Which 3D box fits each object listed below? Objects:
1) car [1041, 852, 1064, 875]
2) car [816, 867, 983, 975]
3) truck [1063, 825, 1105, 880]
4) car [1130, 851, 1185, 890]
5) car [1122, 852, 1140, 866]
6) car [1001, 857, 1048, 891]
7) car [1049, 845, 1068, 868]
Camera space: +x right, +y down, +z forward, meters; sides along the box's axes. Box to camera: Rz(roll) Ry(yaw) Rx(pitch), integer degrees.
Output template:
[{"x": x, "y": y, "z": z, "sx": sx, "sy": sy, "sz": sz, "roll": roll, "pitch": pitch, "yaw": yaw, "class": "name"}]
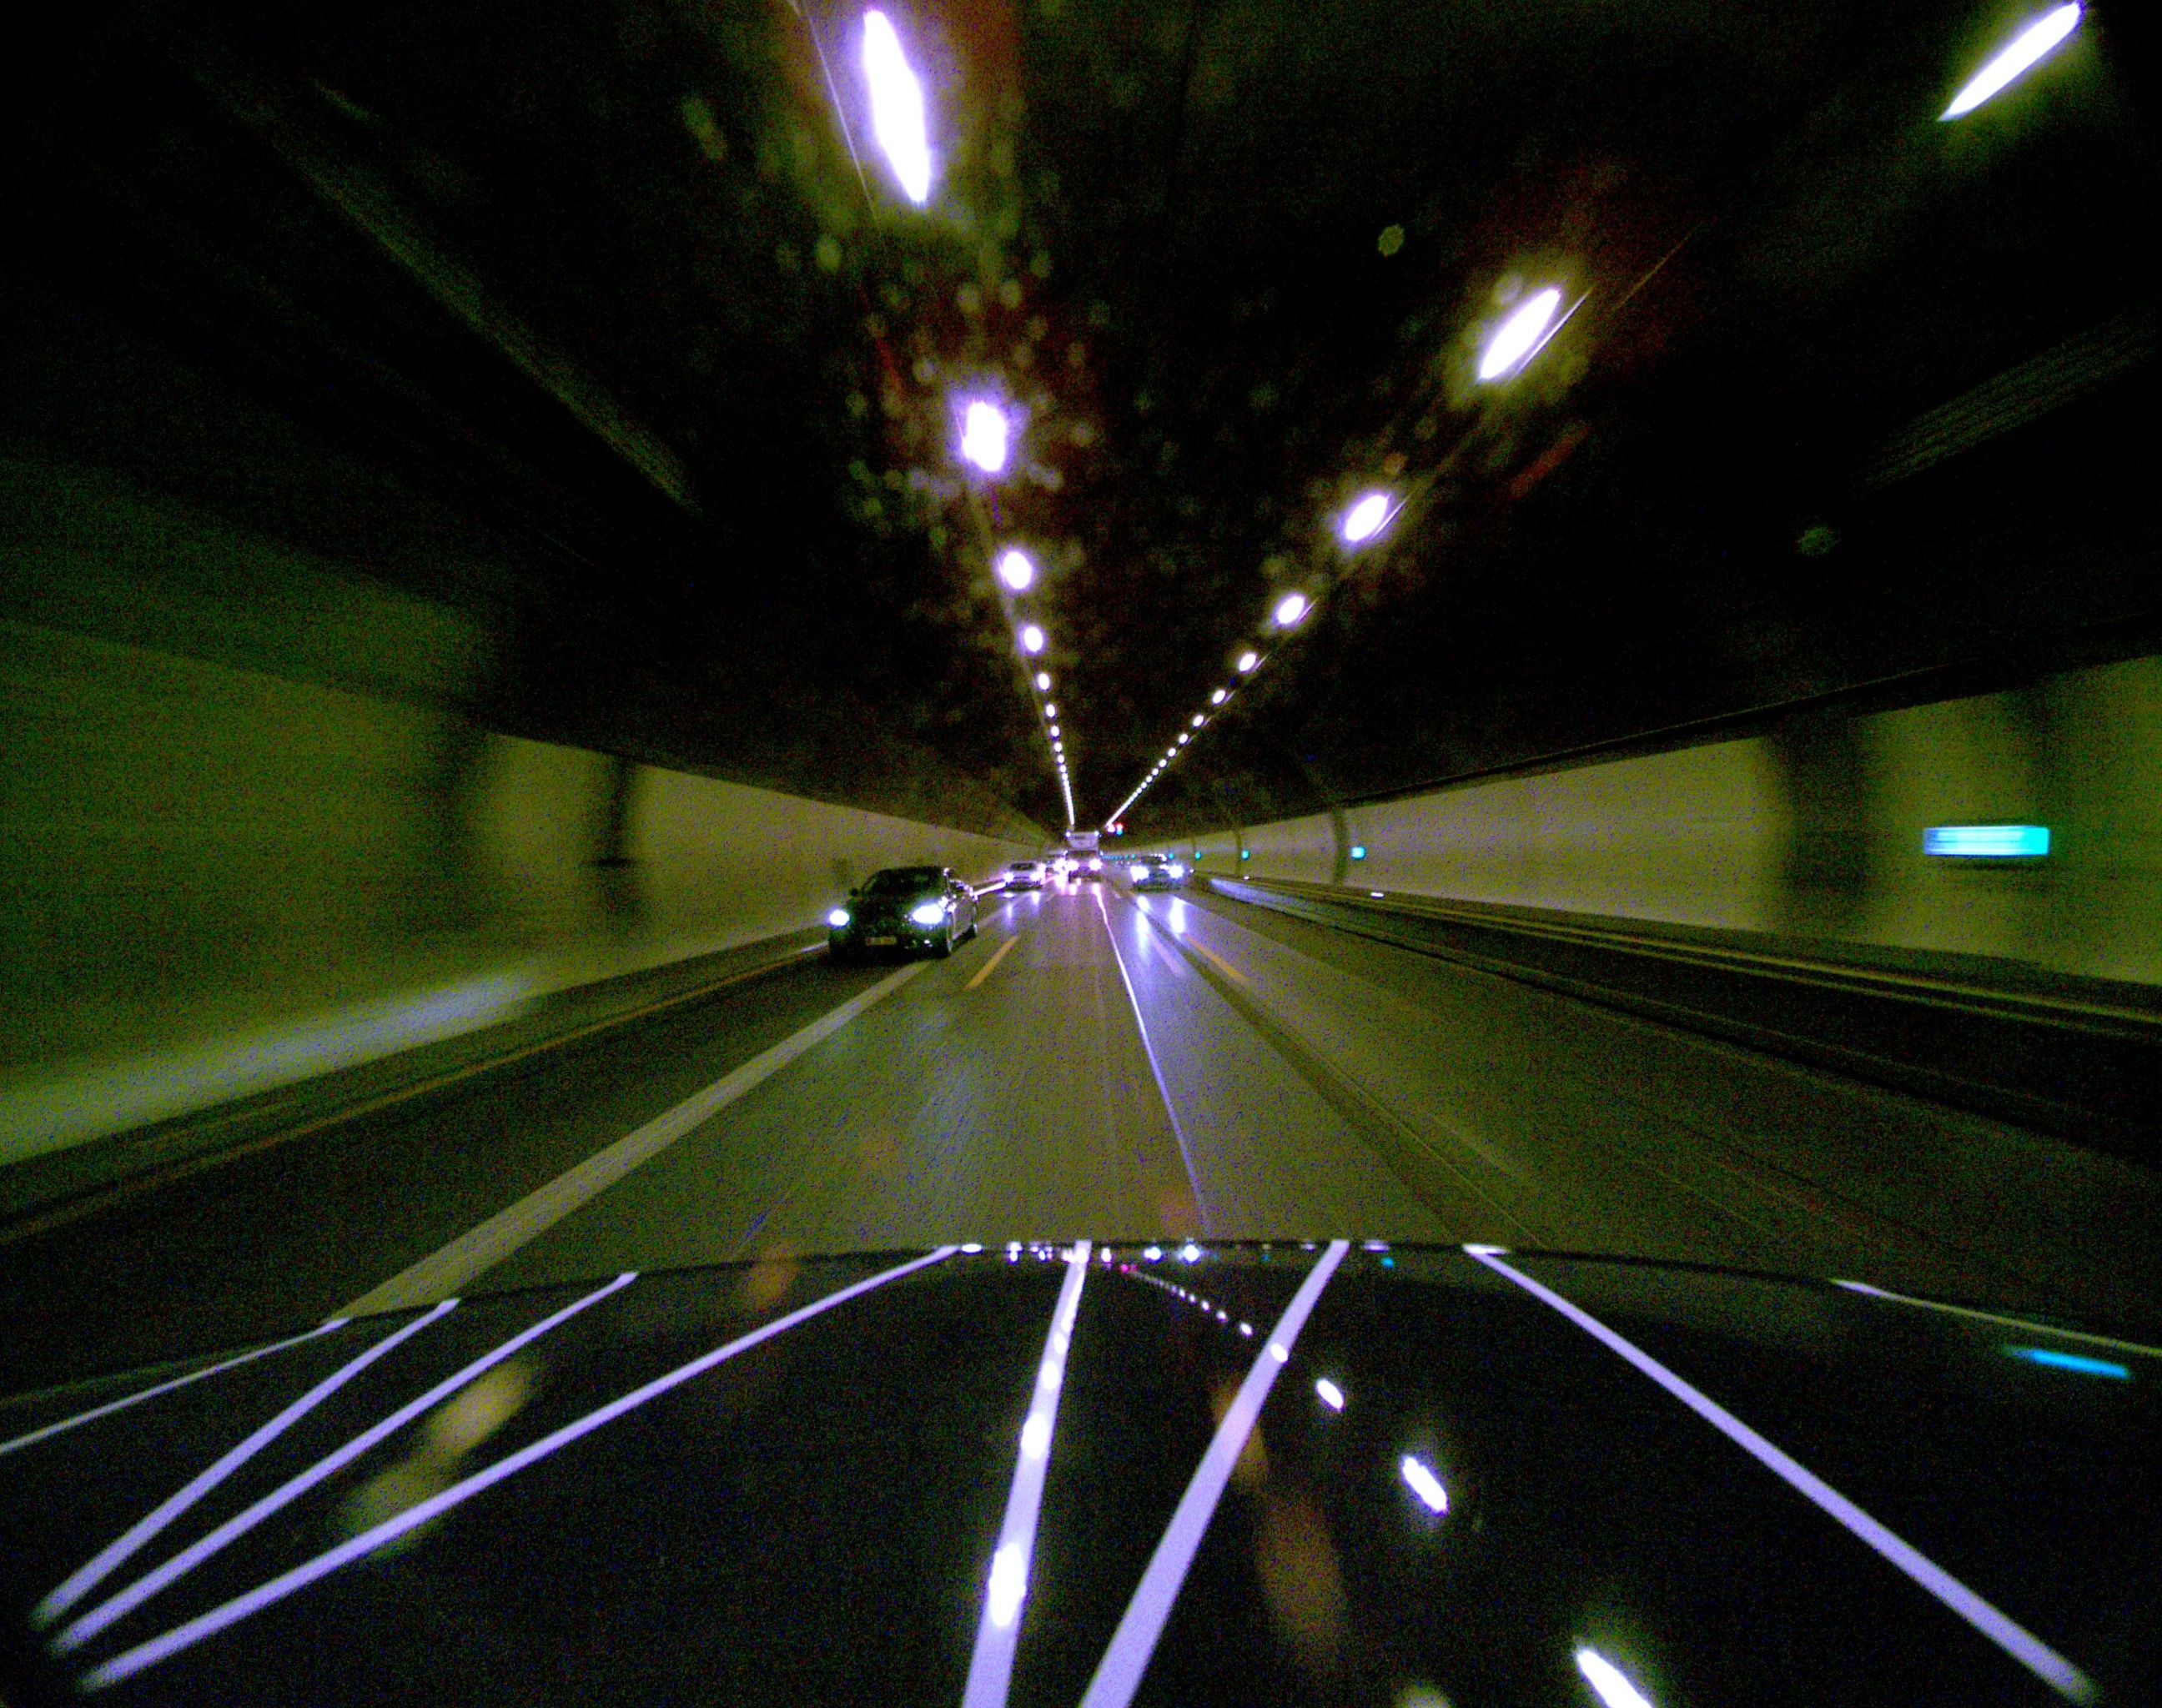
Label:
[{"x": -2.617, "y": 0.879, "z": 71.289, "sx": 1.999, "sy": 2.002, "sz": 4.853, "roll": -2, "pitch": 0, "yaw": -1, "class": "car"}, {"x": -3.005, "y": 1.039, "z": 13.612, "sx": 1.825, "sy": 1.469, "sz": 4.521, "roll": -2, "pitch": 0, "yaw": 0, "class": "car"}, {"x": 0.193, "y": -0.099, "z": 51.053, "sx": 2.533, "sy": 3.314, "sz": 7.715, "roll": -2, "pitch": 0, "yaw": 0, "class": "truck"}, {"x": 3.364, "y": 0.681, "z": 34.241, "sx": 1.998, "sy": 1.531, "sz": 4.742, "roll": -2, "pitch": 1, "yaw": 0, "class": "car"}, {"x": 6.074, "y": 0.585, "z": 92.552, "sx": 1.998, "sy": 1.531, "sz": 4.852, "roll": -2, "pitch": 1, "yaw": 4, "class": "car"}, {"x": -2.822, "y": 0.972, "z": 39.224, "sx": 1.998, "sy": 1.531, "sz": 4.742, "roll": -2, "pitch": 1, "yaw": 0, "class": "car"}, {"x": -2.712, "y": 0.284, "z": 94.031, "sx": 1.998, "sy": 2.710, "sz": 6.273, "roll": -2, "pitch": 1, "yaw": 0, "class": "car"}]
